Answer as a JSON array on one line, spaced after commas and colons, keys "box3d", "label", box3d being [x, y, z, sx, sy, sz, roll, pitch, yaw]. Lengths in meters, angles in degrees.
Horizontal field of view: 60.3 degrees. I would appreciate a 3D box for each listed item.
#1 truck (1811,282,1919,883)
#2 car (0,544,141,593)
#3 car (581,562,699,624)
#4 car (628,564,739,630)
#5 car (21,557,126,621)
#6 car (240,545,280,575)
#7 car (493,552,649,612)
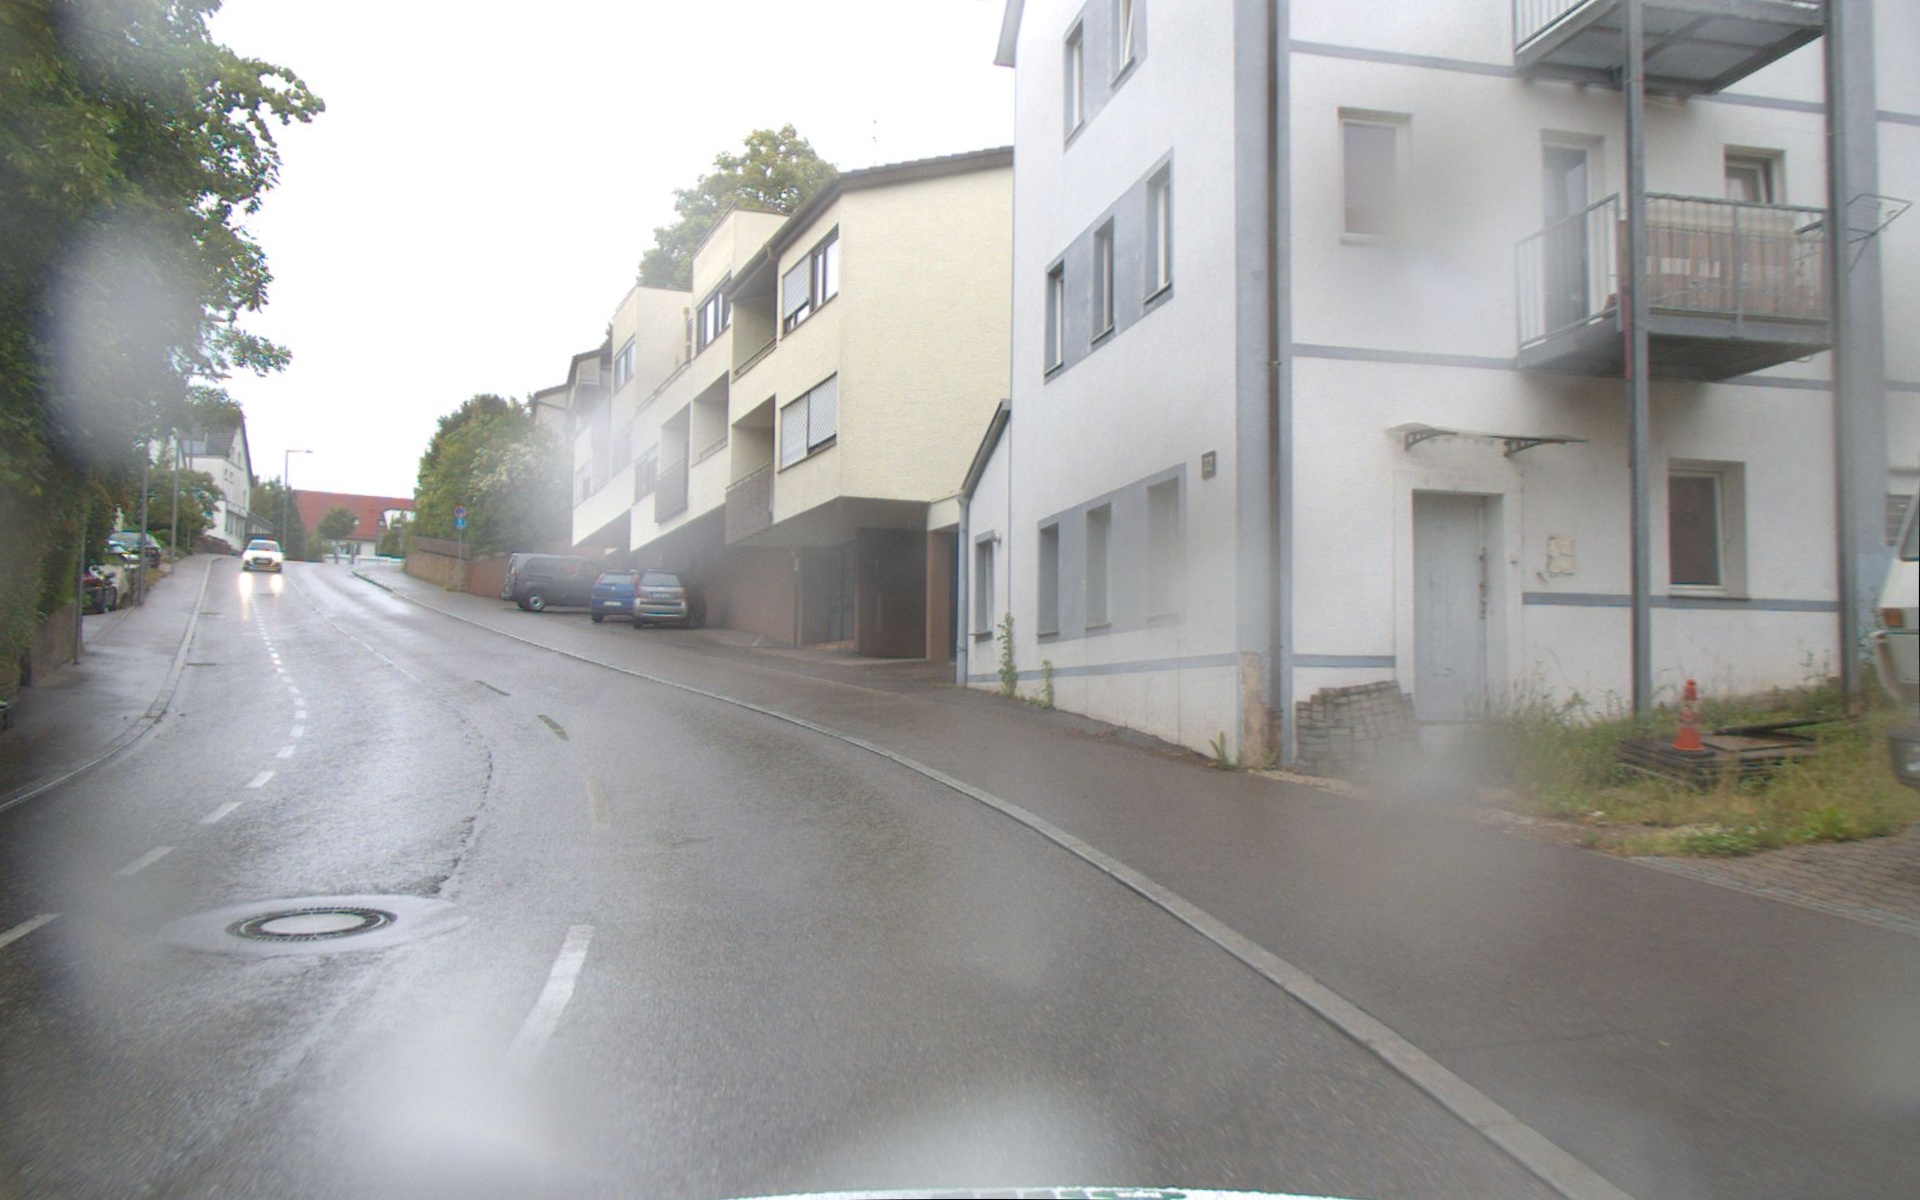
[{"box3d": [7.791, -0.320, 7.706, 6.832, 2.749, 2.136, -5, 2, -10], "label": "truck"}, {"box3d": [-29.664, -1.063, 55.067, 3.917, 1.531, 1.895, 1, 2, -13], "label": "car"}, {"box3d": [-9.164, -0.211, 47.650, 1.744, 1.606, 4.070, 3, 1, 14], "label": "car"}, {"box3d": [-7.442, -0.102, 44.874, 1.744, 1.606, 4.070, 3, 1, 8], "label": "car"}, {"box3d": [-22.536, -0.330, 42.175, 1.868, 1.466, 4.416, -1, 3, -22], "label": "car"}, {"box3d": [-34.002, -1.967, 80.434, 1.679, 1.412, 4.024, -2, 2, -22], "label": "car"}, {"box3d": [-12.700, -0.591, 54.019, 4.648, 1.851, 1.985, 0, 2, -25], "label": "car"}]
